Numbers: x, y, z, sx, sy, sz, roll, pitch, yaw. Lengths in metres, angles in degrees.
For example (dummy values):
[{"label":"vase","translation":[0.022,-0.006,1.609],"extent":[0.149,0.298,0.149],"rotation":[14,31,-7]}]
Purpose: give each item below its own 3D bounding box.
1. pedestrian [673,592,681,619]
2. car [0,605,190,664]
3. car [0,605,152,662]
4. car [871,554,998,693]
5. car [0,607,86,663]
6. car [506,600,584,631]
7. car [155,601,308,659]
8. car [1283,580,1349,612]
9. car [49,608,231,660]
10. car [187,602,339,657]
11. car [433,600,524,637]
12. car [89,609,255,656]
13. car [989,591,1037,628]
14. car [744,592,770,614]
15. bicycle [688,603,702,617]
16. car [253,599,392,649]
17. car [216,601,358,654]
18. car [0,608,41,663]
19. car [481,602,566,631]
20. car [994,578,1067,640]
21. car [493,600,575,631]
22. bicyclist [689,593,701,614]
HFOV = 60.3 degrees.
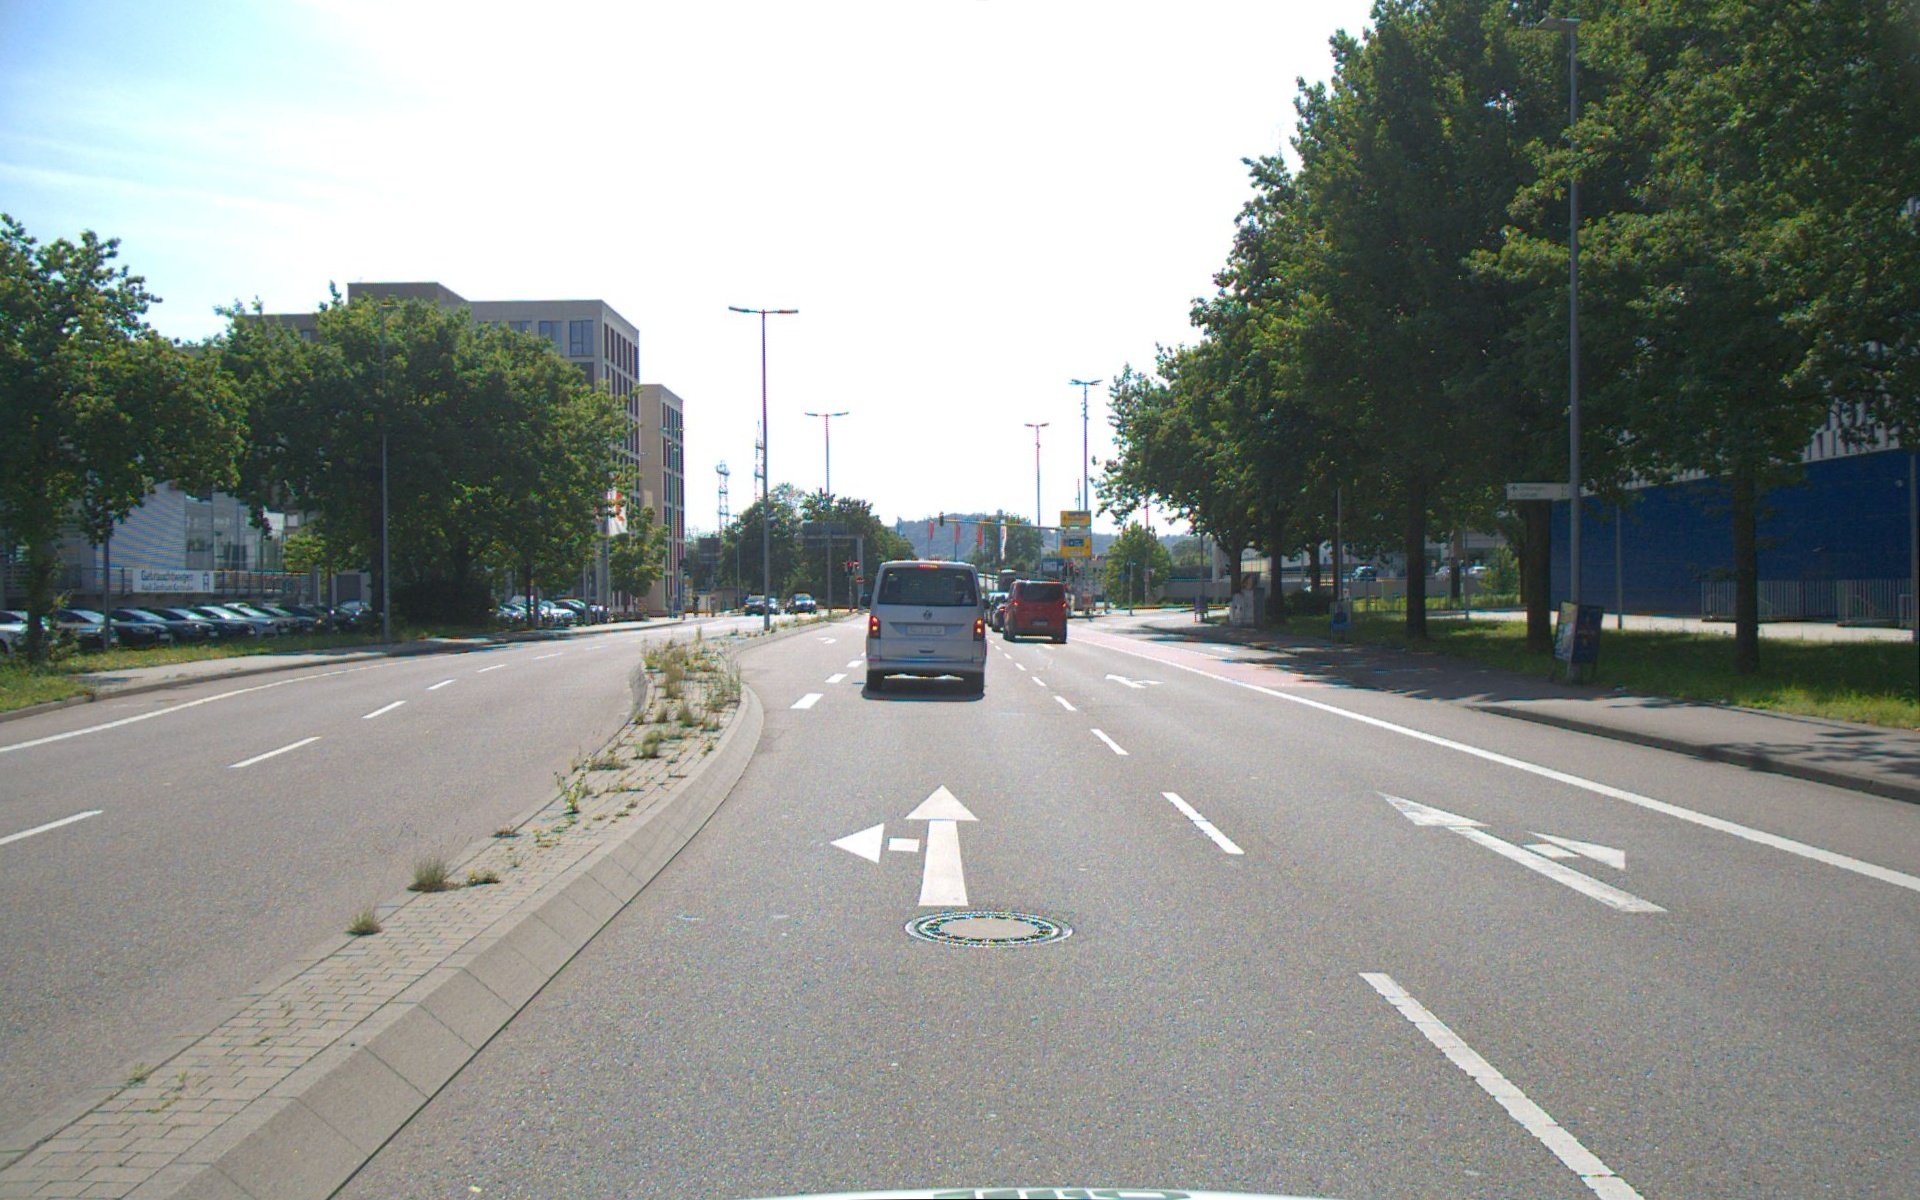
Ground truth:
[{"label":"pedestrian","translation":[-21.324,0.438,124.684],"extent":[0.548,2.049,0.575],"rotation":[1,0,-9]},{"label":"car","translation":[-23.320,0.909,44.609],"extent":[4.091,1.211,1.954],"rotation":[-4,1,-3]},{"label":"car","translation":[-23.253,0.886,42.335],"extent":[4.091,1.211,1.954],"rotation":[-4,1,-3]},{"label":"car","translation":[-0.399,0.329,26.282],"extent":[1.846,2.025,3.999],"rotation":[1,0,-1]},{"label":"car","translation":[-23.560,0.939,39.661],"extent":[4.091,1.211,1.954],"rotation":[-4,1,-3]},{"label":"car","translation":[-22.918,0.827,91.410],"extent":[3.794,1.388,1.749],"rotation":[-4,1,2]},{"label":"car","translation":[-23.195,0.942,52.772],"extent":[3.906,1.467,2.000],"rotation":[-5,0,0]},{"label":"car","translation":[25.418,-0.284,118.125],"extent":[4.310,2.029,1.481],"rotation":[-3,0,4]},{"label":"car","translation":[-23.199,0.943,46.907],"extent":[4.091,1.096,1.954],"rotation":[-4,1,-3]},{"label":"car","translation":[-23.338,0.976,55.514],"extent":[4.162,1.467,2.000],"rotation":[-5,0,0]},{"label":"car","translation":[-23.008,0.859,79.103],"extent":[3.794,1.444,1.660],"rotation":[-4,1,2]},{"label":"car","translation":[-23.263,0.946,48.919],"extent":[4.027,1.052,1.696],"rotation":[-4,0,-3]},{"label":"car","translation":[2.143,0.366,67.990],"extent":[1.711,1.484,4.475],"rotation":[1,0,-1]},{"label":"car","translation":[-16.244,0.205,132.416],"extent":[1.704,1.646,4.207],"rotation":[-3,0,-3]},{"label":"bicycle","translation":[-19.163,0.695,119.667],"extent":[0.666,0.957,1.973],"rotation":[-2,0,0]},{"label":"car","translation":[-23.395,0.881,60.805],"extent":[4.218,1.467,2.051],"rotation":[-5,0,-1]},{"label":"car","translation":[-23.545,0.948,57.986],"extent":[4.056,1.467,2.000],"rotation":[-5,0,0]},{"label":"car","translation":[-23.311,0.944,37.121],"extent":[4.091,1.176,2.086],"rotation":[-4,1,-3]},{"label":"car","translation":[-22.670,0.865,85.916],"extent":[3.794,1.186,1.912],"rotation":[-4,1,2]},{"label":"car","translation":[2.346,0.282,56.315],"extent":[1.928,2.002,5.122],"rotation":[1,0,-4]},{"label":"car","translation":[-22.821,0.819,88.740],"extent":[3.794,1.356,1.849],"rotation":[-4,1,2]},{"label":"bicyclist","translation":[-19.187,0.254,119.806],"extent":[0.606,1.553,1.036],"rotation":[-2,0,0]}]
